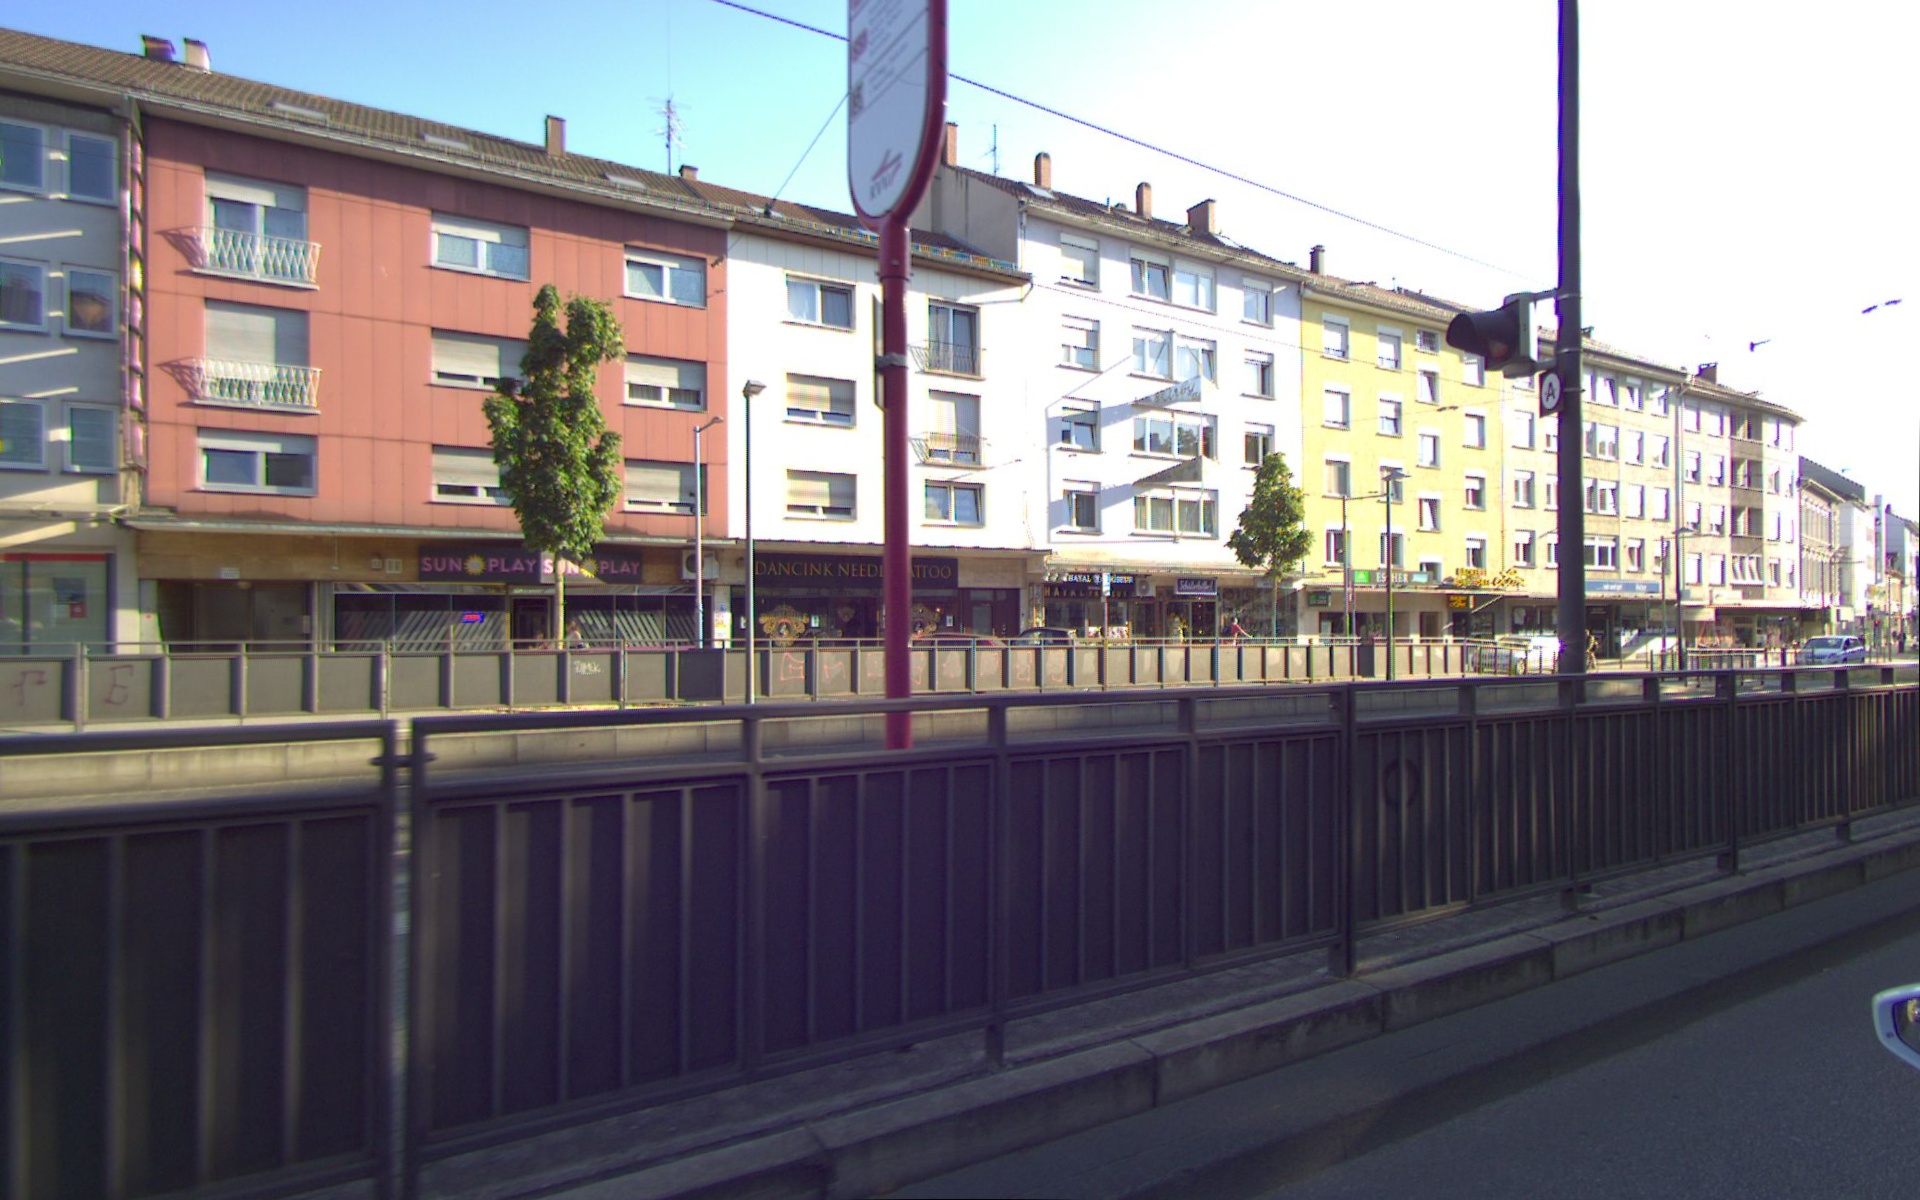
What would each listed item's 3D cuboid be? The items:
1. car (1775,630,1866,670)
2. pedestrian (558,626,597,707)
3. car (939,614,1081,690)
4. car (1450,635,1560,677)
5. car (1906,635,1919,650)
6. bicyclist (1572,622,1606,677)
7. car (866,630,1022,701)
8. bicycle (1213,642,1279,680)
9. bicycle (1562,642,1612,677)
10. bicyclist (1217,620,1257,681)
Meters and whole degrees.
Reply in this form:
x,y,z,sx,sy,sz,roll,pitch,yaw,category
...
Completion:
x,y,z,sx,sy,sz,roll,pitch,yaw,category
38.990,2.223,45.481,4.388,1.739,1.982,1,-1,-33,car
-8.934,1.534,23.443,0.736,1.873,0.584,1,-1,-33,pedestrian
1.433,1.393,27.768,3.693,1.824,1.865,2,1,8,car
21.308,2.152,39.253,4.365,1.498,1.981,2,0,-34,car
93.523,4.110,95.778,4.460,1.431,2.001,0,-1,16,car
23.961,1.878,38.256,0.901,2.040,0.760,1,-2,-32,bicyclist
-0.354,1.632,25.606,3.693,1.511,1.865,2,1,8,car
9.527,2.013,33.409,2.168,1.175,0.703,0,3,-25,bicycle
23.847,2.249,38.181,2.253,1.246,0.714,1,-2,-32,bicycle
9.165,1.648,33.222,1.043,1.912,0.690,-1,4,-25,bicyclist
